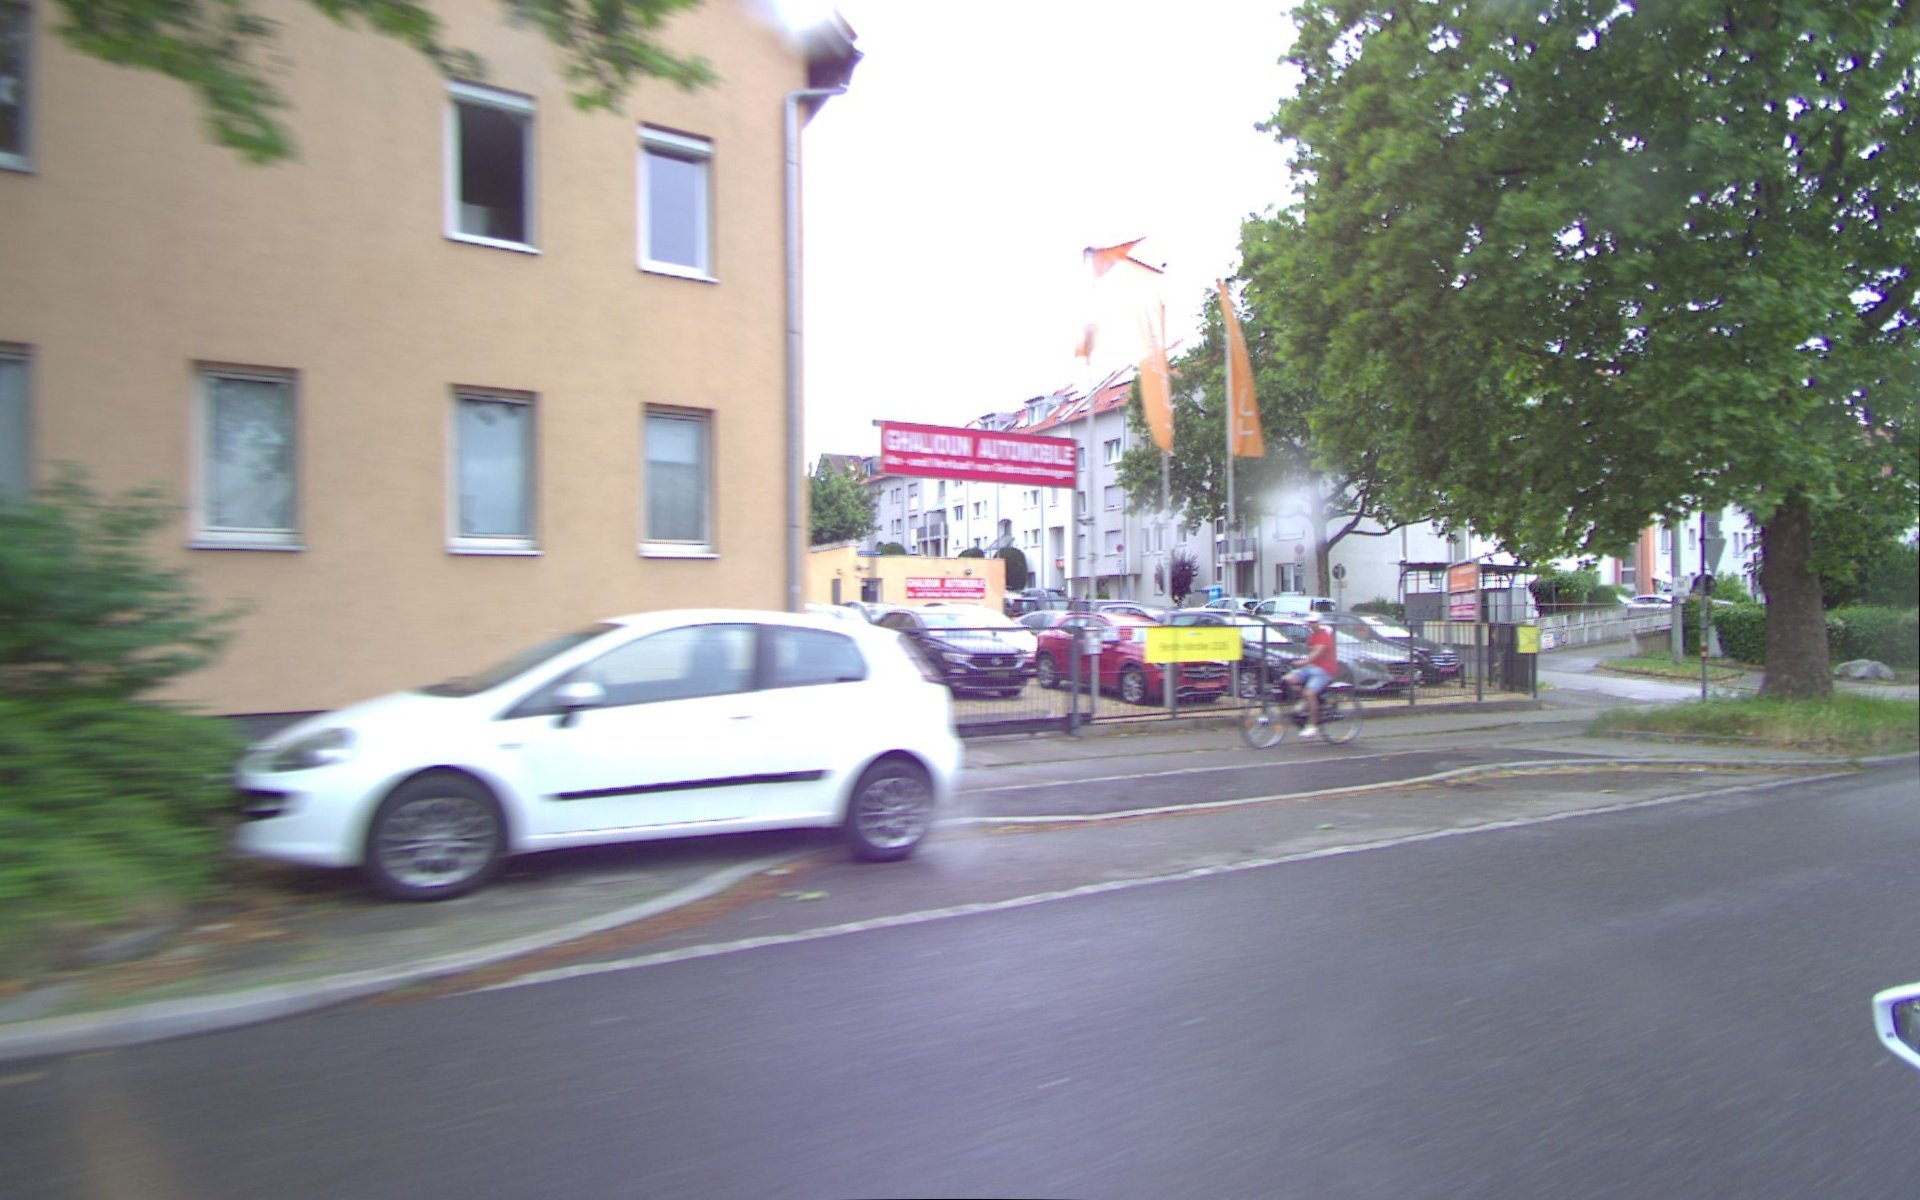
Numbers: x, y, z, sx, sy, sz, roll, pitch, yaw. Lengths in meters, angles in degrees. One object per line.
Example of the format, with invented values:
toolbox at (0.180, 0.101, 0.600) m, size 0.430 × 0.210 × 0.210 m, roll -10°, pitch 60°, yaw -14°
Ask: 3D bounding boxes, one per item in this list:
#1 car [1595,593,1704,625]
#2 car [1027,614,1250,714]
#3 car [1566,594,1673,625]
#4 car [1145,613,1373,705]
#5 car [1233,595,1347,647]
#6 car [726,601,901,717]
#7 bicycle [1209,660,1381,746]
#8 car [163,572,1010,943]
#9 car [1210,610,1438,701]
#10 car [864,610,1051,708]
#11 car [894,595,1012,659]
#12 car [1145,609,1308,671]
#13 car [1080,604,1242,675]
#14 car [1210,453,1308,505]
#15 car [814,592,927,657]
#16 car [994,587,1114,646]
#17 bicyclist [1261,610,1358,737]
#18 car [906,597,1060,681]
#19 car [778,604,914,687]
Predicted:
car at (33.582, 0.401, 49.033) m, size 1.825 × 1.433 × 3.972 m, roll 2°, pitch 0°, yaw -27°
car at (3.120, 1.070, 18.376) m, size 1.933 × 1.518 × 4.082 m, roll 1°, pitch 0°, yaw -27°
car at (31.551, 0.419, 48.158) m, size 1.722 × 1.335 × 3.972 m, roll 2°, pitch 0°, yaw -27°
car at (5.653, 1.054, 19.536) m, size 1.973 × 1.559 × 4.194 m, roll 1°, pitch -1°, yaw -26°
car at (12.844, 0.782, 39.321) m, size 1.858 × 1.802 × 3.968 m, roll 2°, pitch 1°, yaw -30°
car at (-2.629, 0.899, 17.213) m, size 1.760 × 1.636 × 3.971 m, roll 1°, pitch 1°, yaw -27°
bicycle at (4.306, 1.319, 12.876) m, size 2.232 × 1.009 × 0.553 m, roll 2°, pitch 0°, yaw -21°
car at (-1.967, 0.696, 6.132) m, size 4.301 × 1.572 × 1.777 m, roll 1°, pitch 0°, yaw -31°
car at (7.523, 1.093, 21.142) m, size 1.960 × 1.559 × 4.185 m, roll 2°, pitch 0°, yaw -31°
car at (-0.167, 1.009, 18.660) m, size 1.862 × 1.484 × 3.971 m, roll 1°, pitch 1°, yaw -27°
car at (-0.286, 0.767, 29.937) m, size 1.863 × 1.706 × 3.971 m, roll 2°, pitch 0°, yaw -27°
car at (7.238, 1.064, 27.672) m, size 1.977 × 1.516 × 4.146 m, roll 2°, pitch -1°, yaw -31°
car at (5.159, 0.989, 26.228) m, size 1.977 × 1.675 × 3.967 m, roll 2°, pitch -1°, yaw -31°
car at (13.443, -5.411, 45.377) m, size 1.859 × 1.801 × 3.968 m, roll 7°, pitch -1°, yaw -30°
car at (-2.667, 0.661, 29.058) m, size 1.863 × 1.706 × 3.971 m, roll 2°, pitch 0°, yaw -27°
car at (2.868, 0.479, 31.559) m, size 1.863 × 1.706 × 3.971 m, roll 2°, pitch 0°, yaw -27°
bicyclist at (4.507, 0.932, 12.985) m, size 0.804 × 1.573 × 0.831 m, roll 2°, pitch 0°, yaw -20°
car at (0.426, 0.846, 23.215) m, size 1.863 × 1.706 × 3.971 m, roll 2°, pitch 0°, yaw -27°
car at (-2.763, 1.009, 23.578) m, size 1.863 × 1.706 × 3.971 m, roll 2°, pitch 0°, yaw -27°
